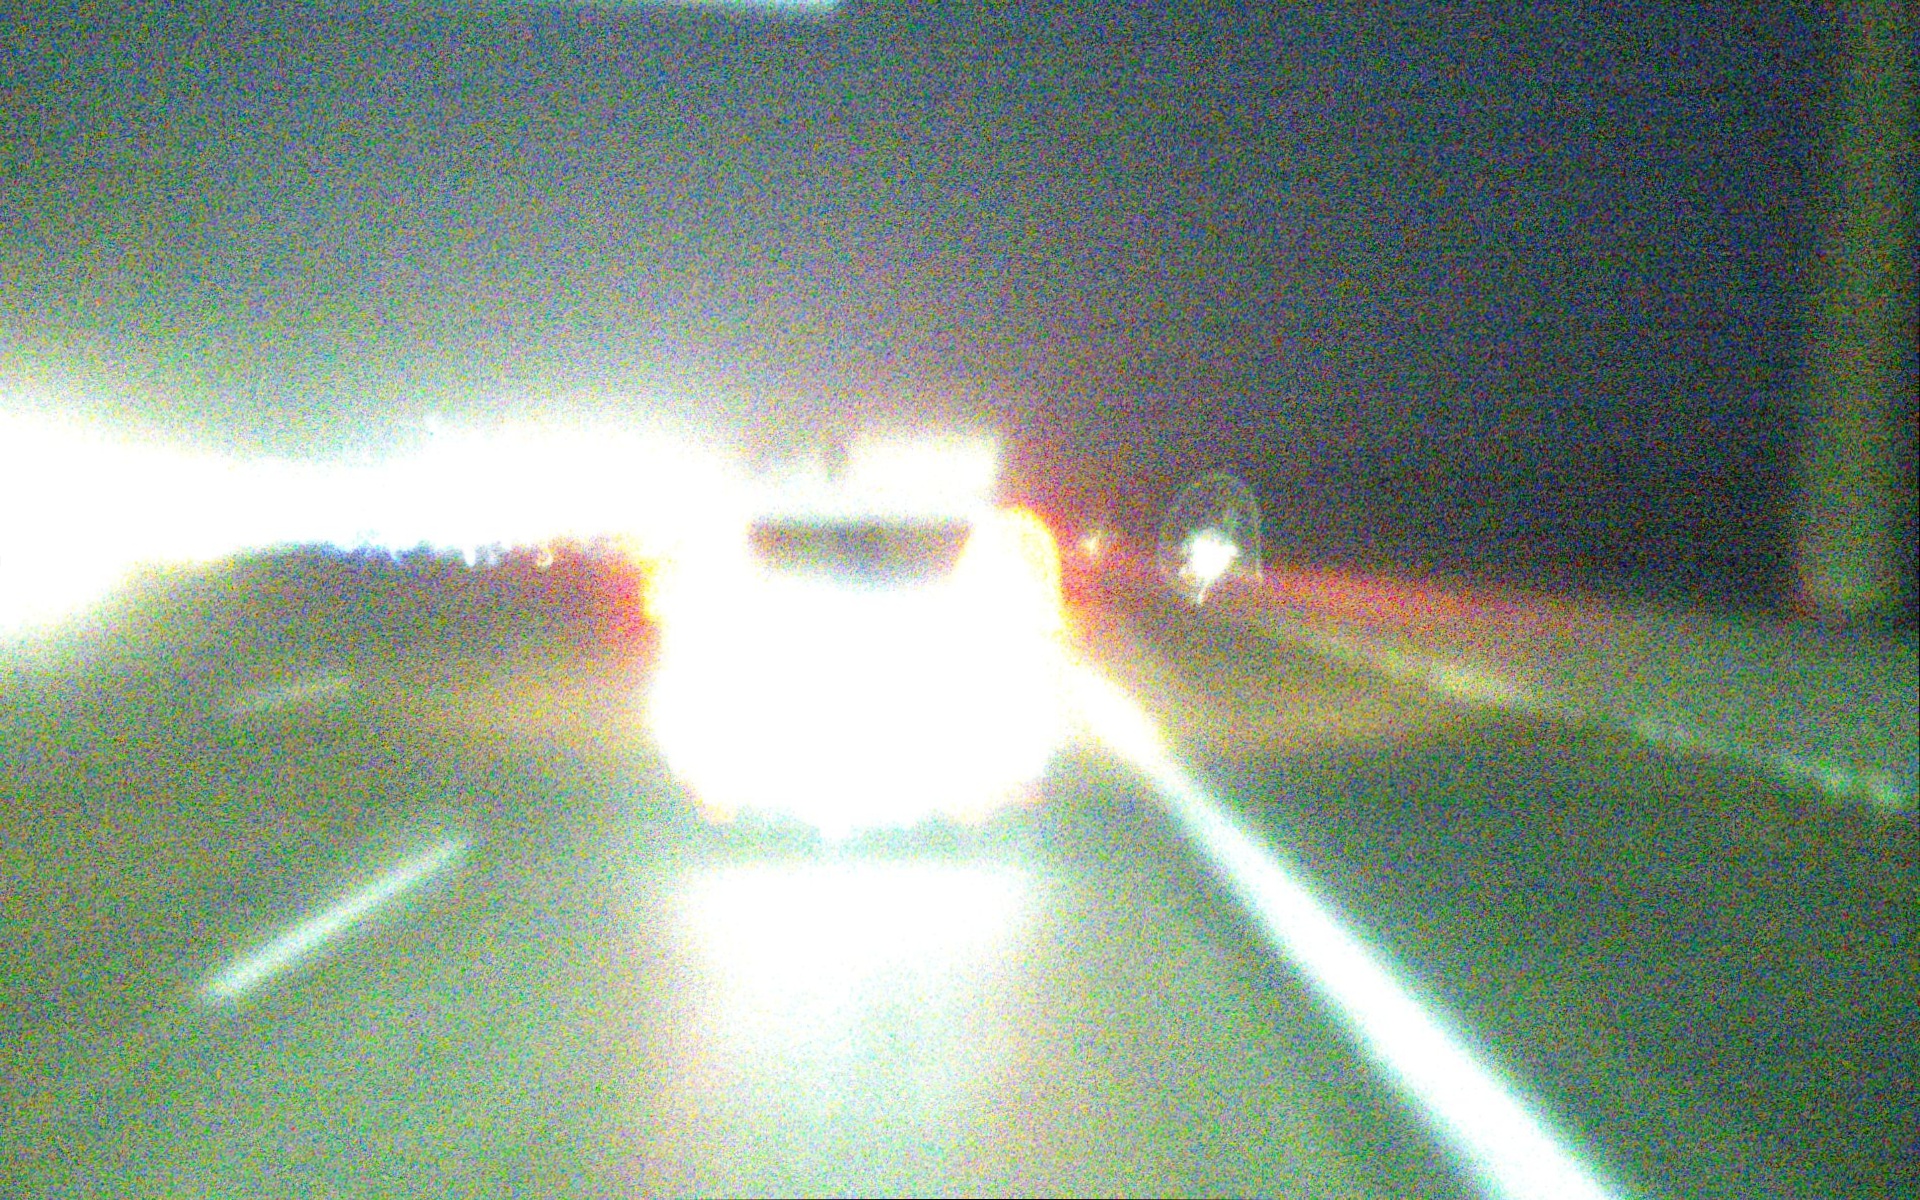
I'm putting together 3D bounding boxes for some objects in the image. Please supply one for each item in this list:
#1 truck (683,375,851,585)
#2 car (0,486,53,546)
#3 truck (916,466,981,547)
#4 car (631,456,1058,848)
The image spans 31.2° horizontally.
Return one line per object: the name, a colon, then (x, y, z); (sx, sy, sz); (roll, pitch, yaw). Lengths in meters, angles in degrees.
truck: (-5.395, -3.332, 98.898); (4.167, 5.525, 13.075); (1, 1, -1)
car: (-25.306, -2.231, 90.475); (1.708, 1.459, 4.000); (3, 2, 0)
truck: (-0.787, -5.914, 219.097); (3.824, 4.898, 11.607); (2, 1, -1)
car: (-0.620, 0.199, 18.628); (1.953, 1.786, 5.125); (1, 1, -2)
